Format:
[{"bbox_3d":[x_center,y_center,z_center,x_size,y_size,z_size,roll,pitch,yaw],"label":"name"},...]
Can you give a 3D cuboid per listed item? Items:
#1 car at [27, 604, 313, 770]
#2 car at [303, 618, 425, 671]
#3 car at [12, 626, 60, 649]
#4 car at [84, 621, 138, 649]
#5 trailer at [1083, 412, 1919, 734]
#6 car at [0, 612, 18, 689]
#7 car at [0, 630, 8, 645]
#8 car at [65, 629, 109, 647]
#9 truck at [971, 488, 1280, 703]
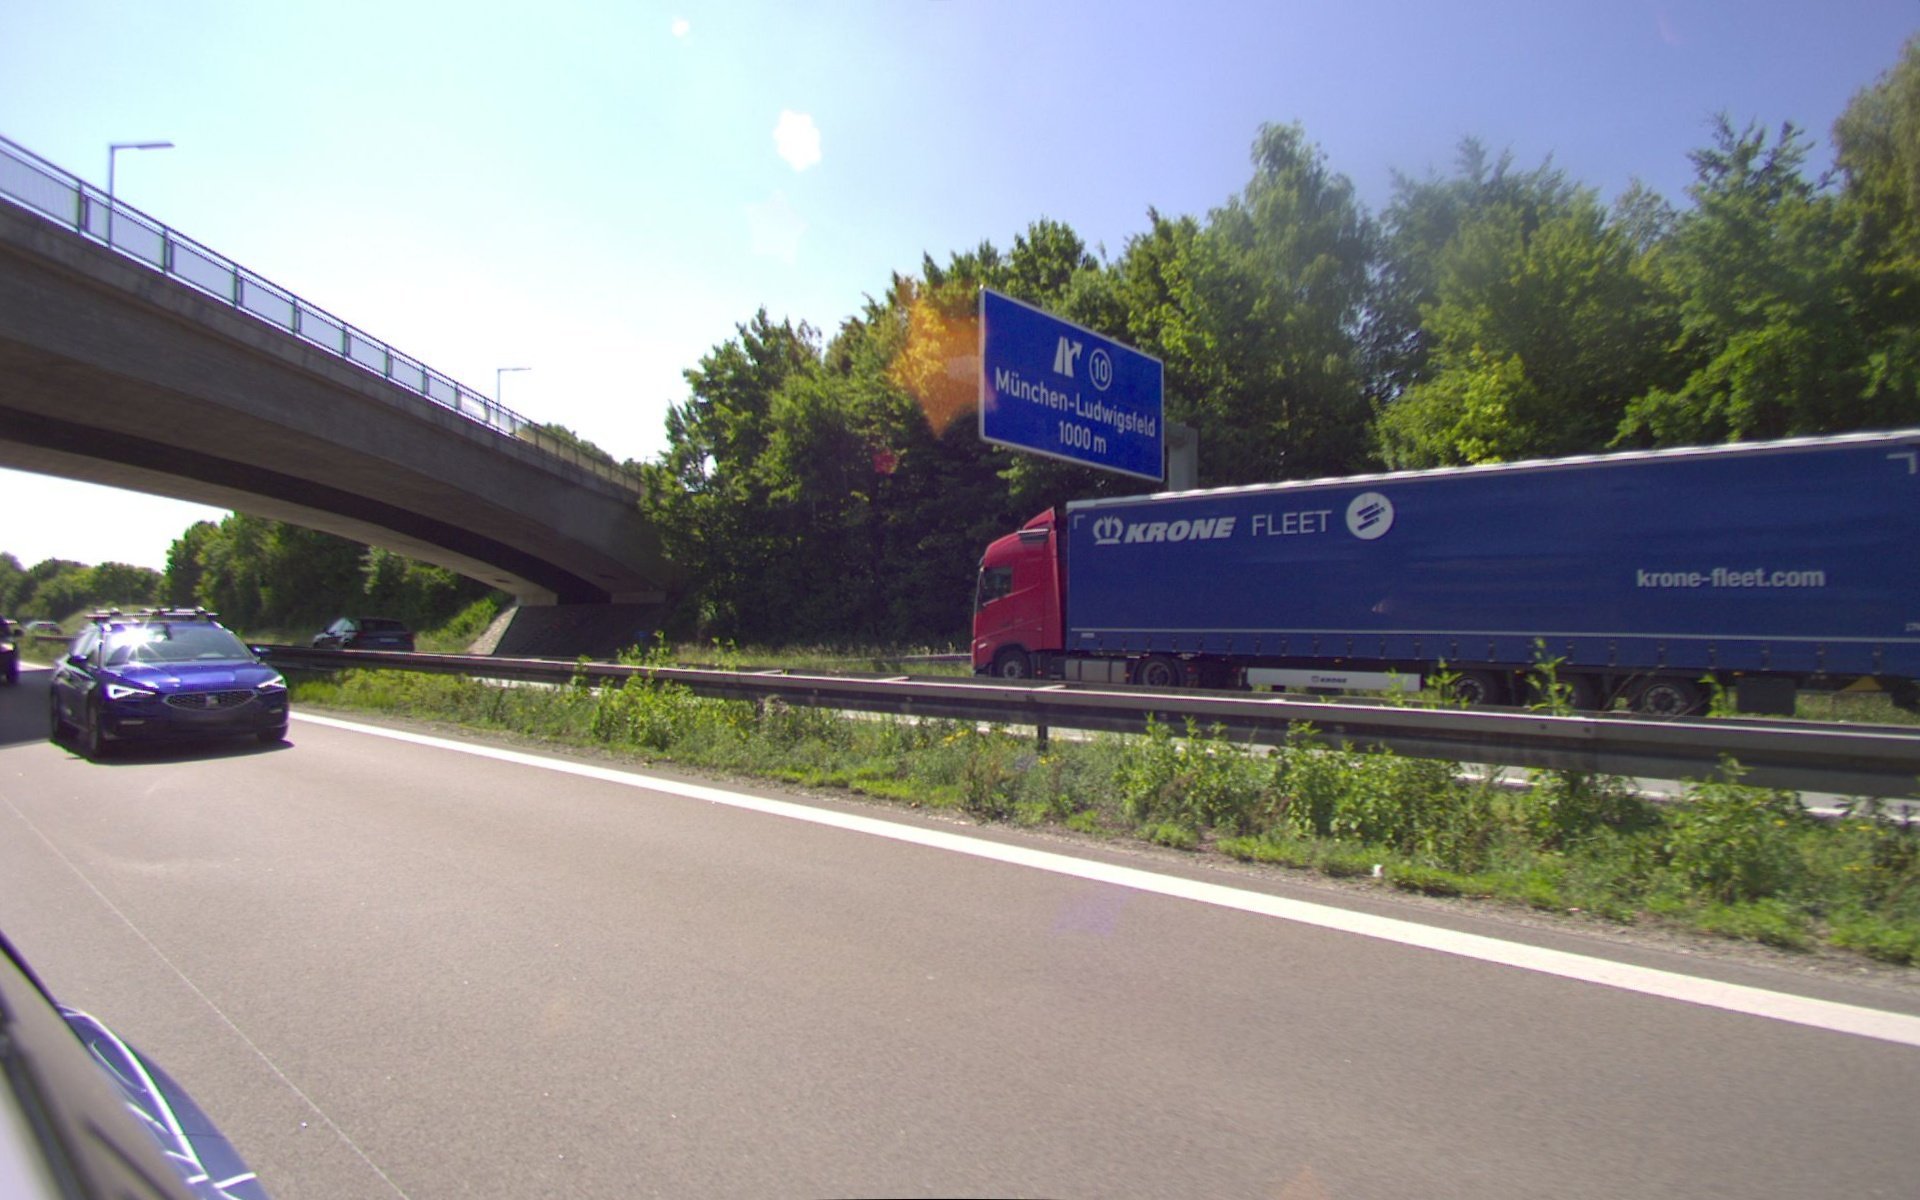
[{"bbox_3d":[-9.548,0.911,12.120,4.237,1.638,1.881,-2,-1,40],"label":"car"},{"bbox_3d":[-17.983,1.305,30.471,4.432,1.495,1.862,-2,-2,41],"label":"car"},{"bbox_3d":[-62.271,2.534,68.170,4.416,1.485,1.756,-1,-4,40],"label":"car"},{"bbox_3d":[-47.705,1.957,56.843,4.345,1.493,1.665,-1,-2,41],"label":"car"},{"bbox_3d":[8.556,-0.161,17.775,13.541,4.071,2.755,-2,-4,42],"label":"trailer"},{"bbox_3d":[-24.006,1.174,24.193,3.980,1.736,1.845,0,-1,43],"label":"car"},{"bbox_3d":[-99.776,3.899,104.342,4.211,1.539,1.841,-2,-2,40],"label":"car"},{"bbox_3d":[-66.153,2.868,76.669,4.365,1.312,1.756,-1,-4,40],"label":"car"},{"bbox_3d":[3.501,0.034,22.276,6.207,4.092,2.756,-2,-4,41],"label":"truck"}]
